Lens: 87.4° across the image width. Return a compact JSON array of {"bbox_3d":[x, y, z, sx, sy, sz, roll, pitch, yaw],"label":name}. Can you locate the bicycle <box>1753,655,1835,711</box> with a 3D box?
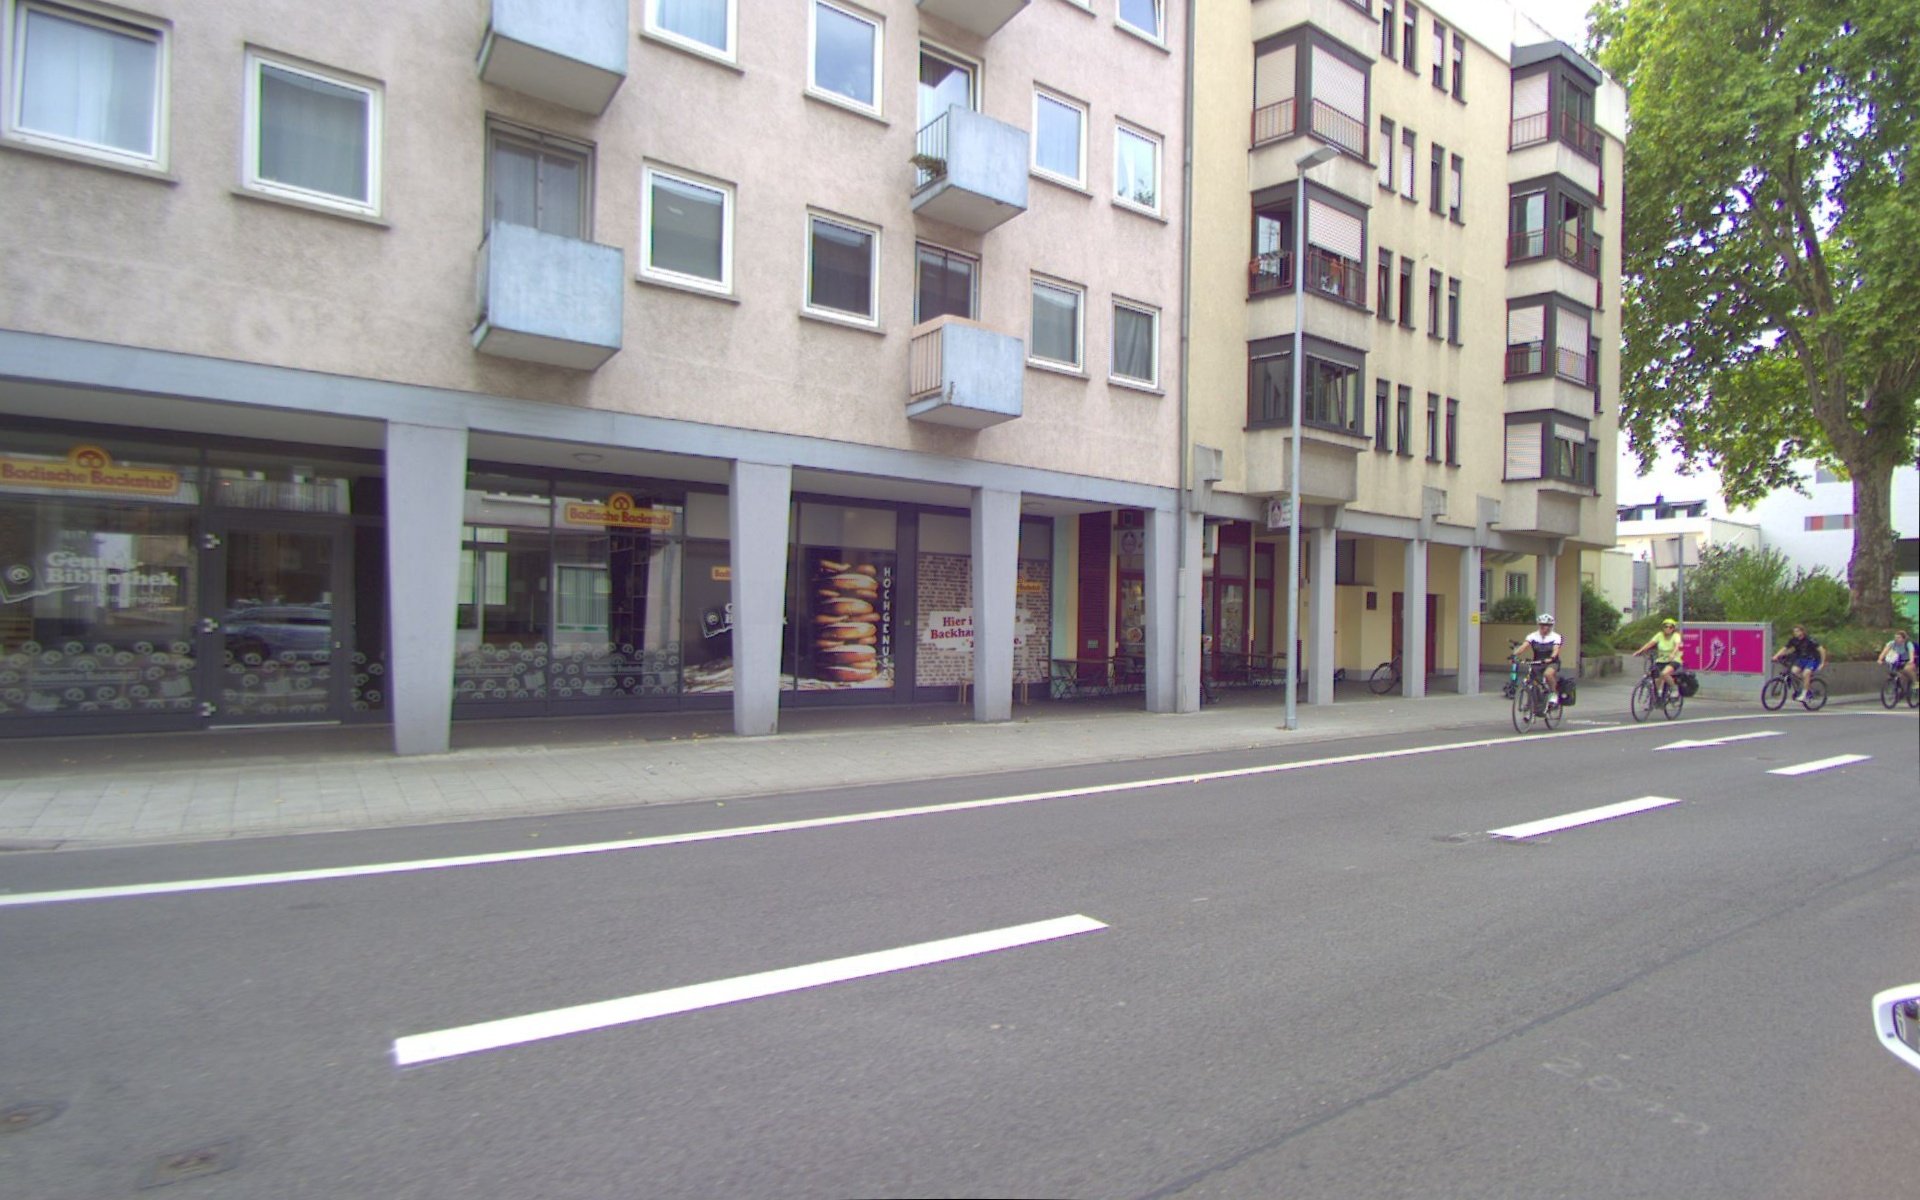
[{"bbox_3d":[17.490,1.721,21.060,1.954,1.020,0.733,0,2,-32],"label":"bicycle"}]

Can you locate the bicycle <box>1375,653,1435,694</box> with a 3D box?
[{"bbox_3d":[9.664,1.579,21.812,1.603,0.832,0.426,2,-1,-35],"label":"bicycle"}]

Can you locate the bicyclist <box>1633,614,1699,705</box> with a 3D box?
[{"bbox_3d":[12.642,1.042,17.985,0.831,1.546,0.653,0,2,-31],"label":"bicyclist"}]

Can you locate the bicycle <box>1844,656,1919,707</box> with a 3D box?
[{"bbox_3d":[21.272,1.863,23.172,2.171,1.020,0.733,0,2,-32],"label":"bicycle"}]

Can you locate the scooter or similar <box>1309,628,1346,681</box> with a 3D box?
[{"bbox_3d":[8.805,1.292,24.030,1.166,1.218,0.284,0,0,-39],"label":"scooter or similar"}]

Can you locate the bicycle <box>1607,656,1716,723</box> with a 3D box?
[{"bbox_3d":[12.572,1.572,17.980,2.226,1.020,0.734,0,2,-31],"label":"bicycle"}]

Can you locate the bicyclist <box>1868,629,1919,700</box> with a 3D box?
[{"bbox_3d":[21.307,1.444,22.844,1.064,1.546,0.653,0,2,-31],"label":"bicyclist"}]

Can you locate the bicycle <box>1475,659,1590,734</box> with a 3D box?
[{"bbox_3d":[9.041,1.488,15.840,1.887,1.020,0.734,0,2,-31],"label":"bicycle"}]

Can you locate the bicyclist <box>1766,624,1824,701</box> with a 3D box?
[{"bbox_3d":[17.517,1.290,21.070,0.846,1.546,0.653,0,2,-31],"label":"bicyclist"}]

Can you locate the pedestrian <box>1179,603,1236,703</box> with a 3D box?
[{"bbox_3d":[4.548,0.960,18.468,0.776,1.781,0.577,2,1,-35],"label":"pedestrian"}]

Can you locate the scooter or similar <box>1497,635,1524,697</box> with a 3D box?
[{"bbox_3d":[11.954,1.418,21.816,0.281,1.281,1.177,1,-1,18],"label":"scooter or similar"}]

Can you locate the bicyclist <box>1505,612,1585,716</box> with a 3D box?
[{"bbox_3d":[9.215,0.983,15.824,0.990,1.546,0.653,0,2,-31],"label":"bicyclist"}]
